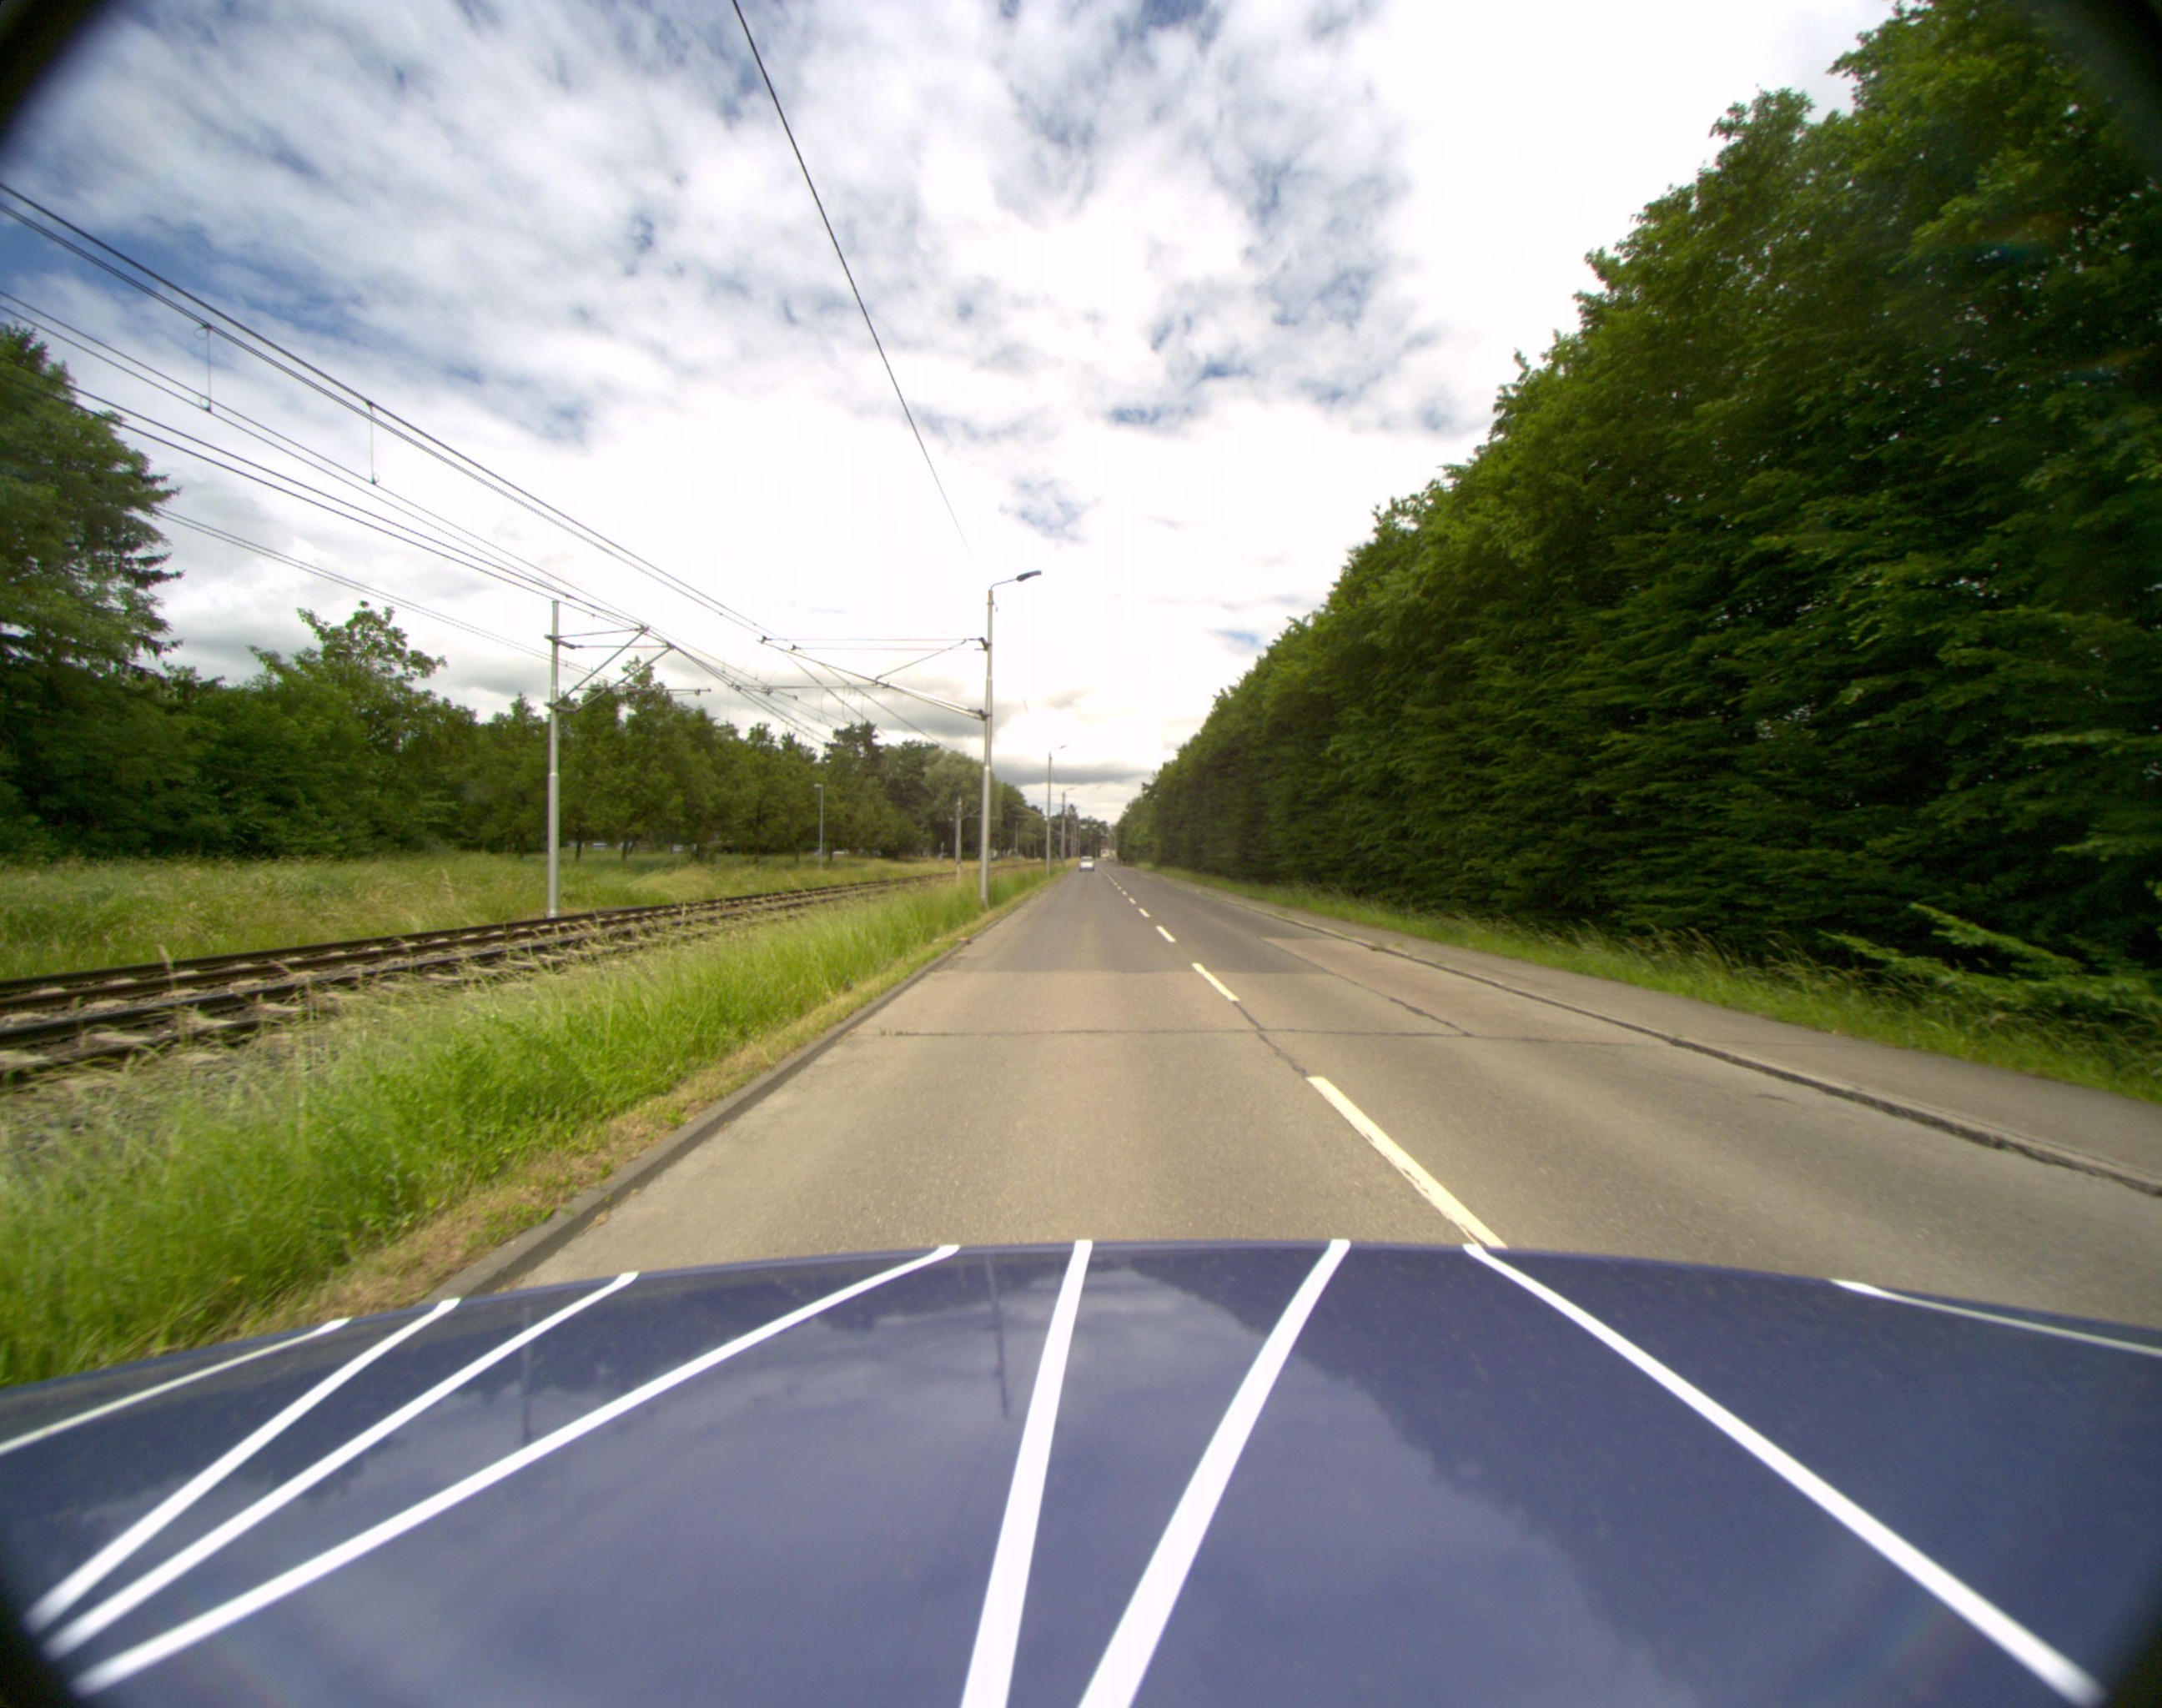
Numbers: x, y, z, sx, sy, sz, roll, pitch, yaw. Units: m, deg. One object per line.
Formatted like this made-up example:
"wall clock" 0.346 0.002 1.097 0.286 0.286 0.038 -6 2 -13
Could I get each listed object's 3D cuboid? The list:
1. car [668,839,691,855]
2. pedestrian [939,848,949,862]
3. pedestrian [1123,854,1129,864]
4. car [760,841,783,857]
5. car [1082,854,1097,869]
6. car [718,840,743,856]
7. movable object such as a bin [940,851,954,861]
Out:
"car" -45.825 -0.782 86.773 2.003 1.801 3.991 0 1 -24
"pedestrian" -17.178 0.120 95.340 0.656 1.657 0.960 2 2 42
"pedestrian" 7.880 0.865 133.872 0.870 1.759 0.789 1 1 -7
"car" -35.672 -0.601 87.662 1.750 1.793 3.995 0 0 -12
"car" 0.961 0.824 86.475 1.734 1.639 4.227 0 -1 0
"car" -40.357 -0.669 87.595 1.750 1.793 3.995 0 0 -12
"movable object such as a bin" -16.836 0.243 95.711 0.658 1.303 1.646 2 2 42
